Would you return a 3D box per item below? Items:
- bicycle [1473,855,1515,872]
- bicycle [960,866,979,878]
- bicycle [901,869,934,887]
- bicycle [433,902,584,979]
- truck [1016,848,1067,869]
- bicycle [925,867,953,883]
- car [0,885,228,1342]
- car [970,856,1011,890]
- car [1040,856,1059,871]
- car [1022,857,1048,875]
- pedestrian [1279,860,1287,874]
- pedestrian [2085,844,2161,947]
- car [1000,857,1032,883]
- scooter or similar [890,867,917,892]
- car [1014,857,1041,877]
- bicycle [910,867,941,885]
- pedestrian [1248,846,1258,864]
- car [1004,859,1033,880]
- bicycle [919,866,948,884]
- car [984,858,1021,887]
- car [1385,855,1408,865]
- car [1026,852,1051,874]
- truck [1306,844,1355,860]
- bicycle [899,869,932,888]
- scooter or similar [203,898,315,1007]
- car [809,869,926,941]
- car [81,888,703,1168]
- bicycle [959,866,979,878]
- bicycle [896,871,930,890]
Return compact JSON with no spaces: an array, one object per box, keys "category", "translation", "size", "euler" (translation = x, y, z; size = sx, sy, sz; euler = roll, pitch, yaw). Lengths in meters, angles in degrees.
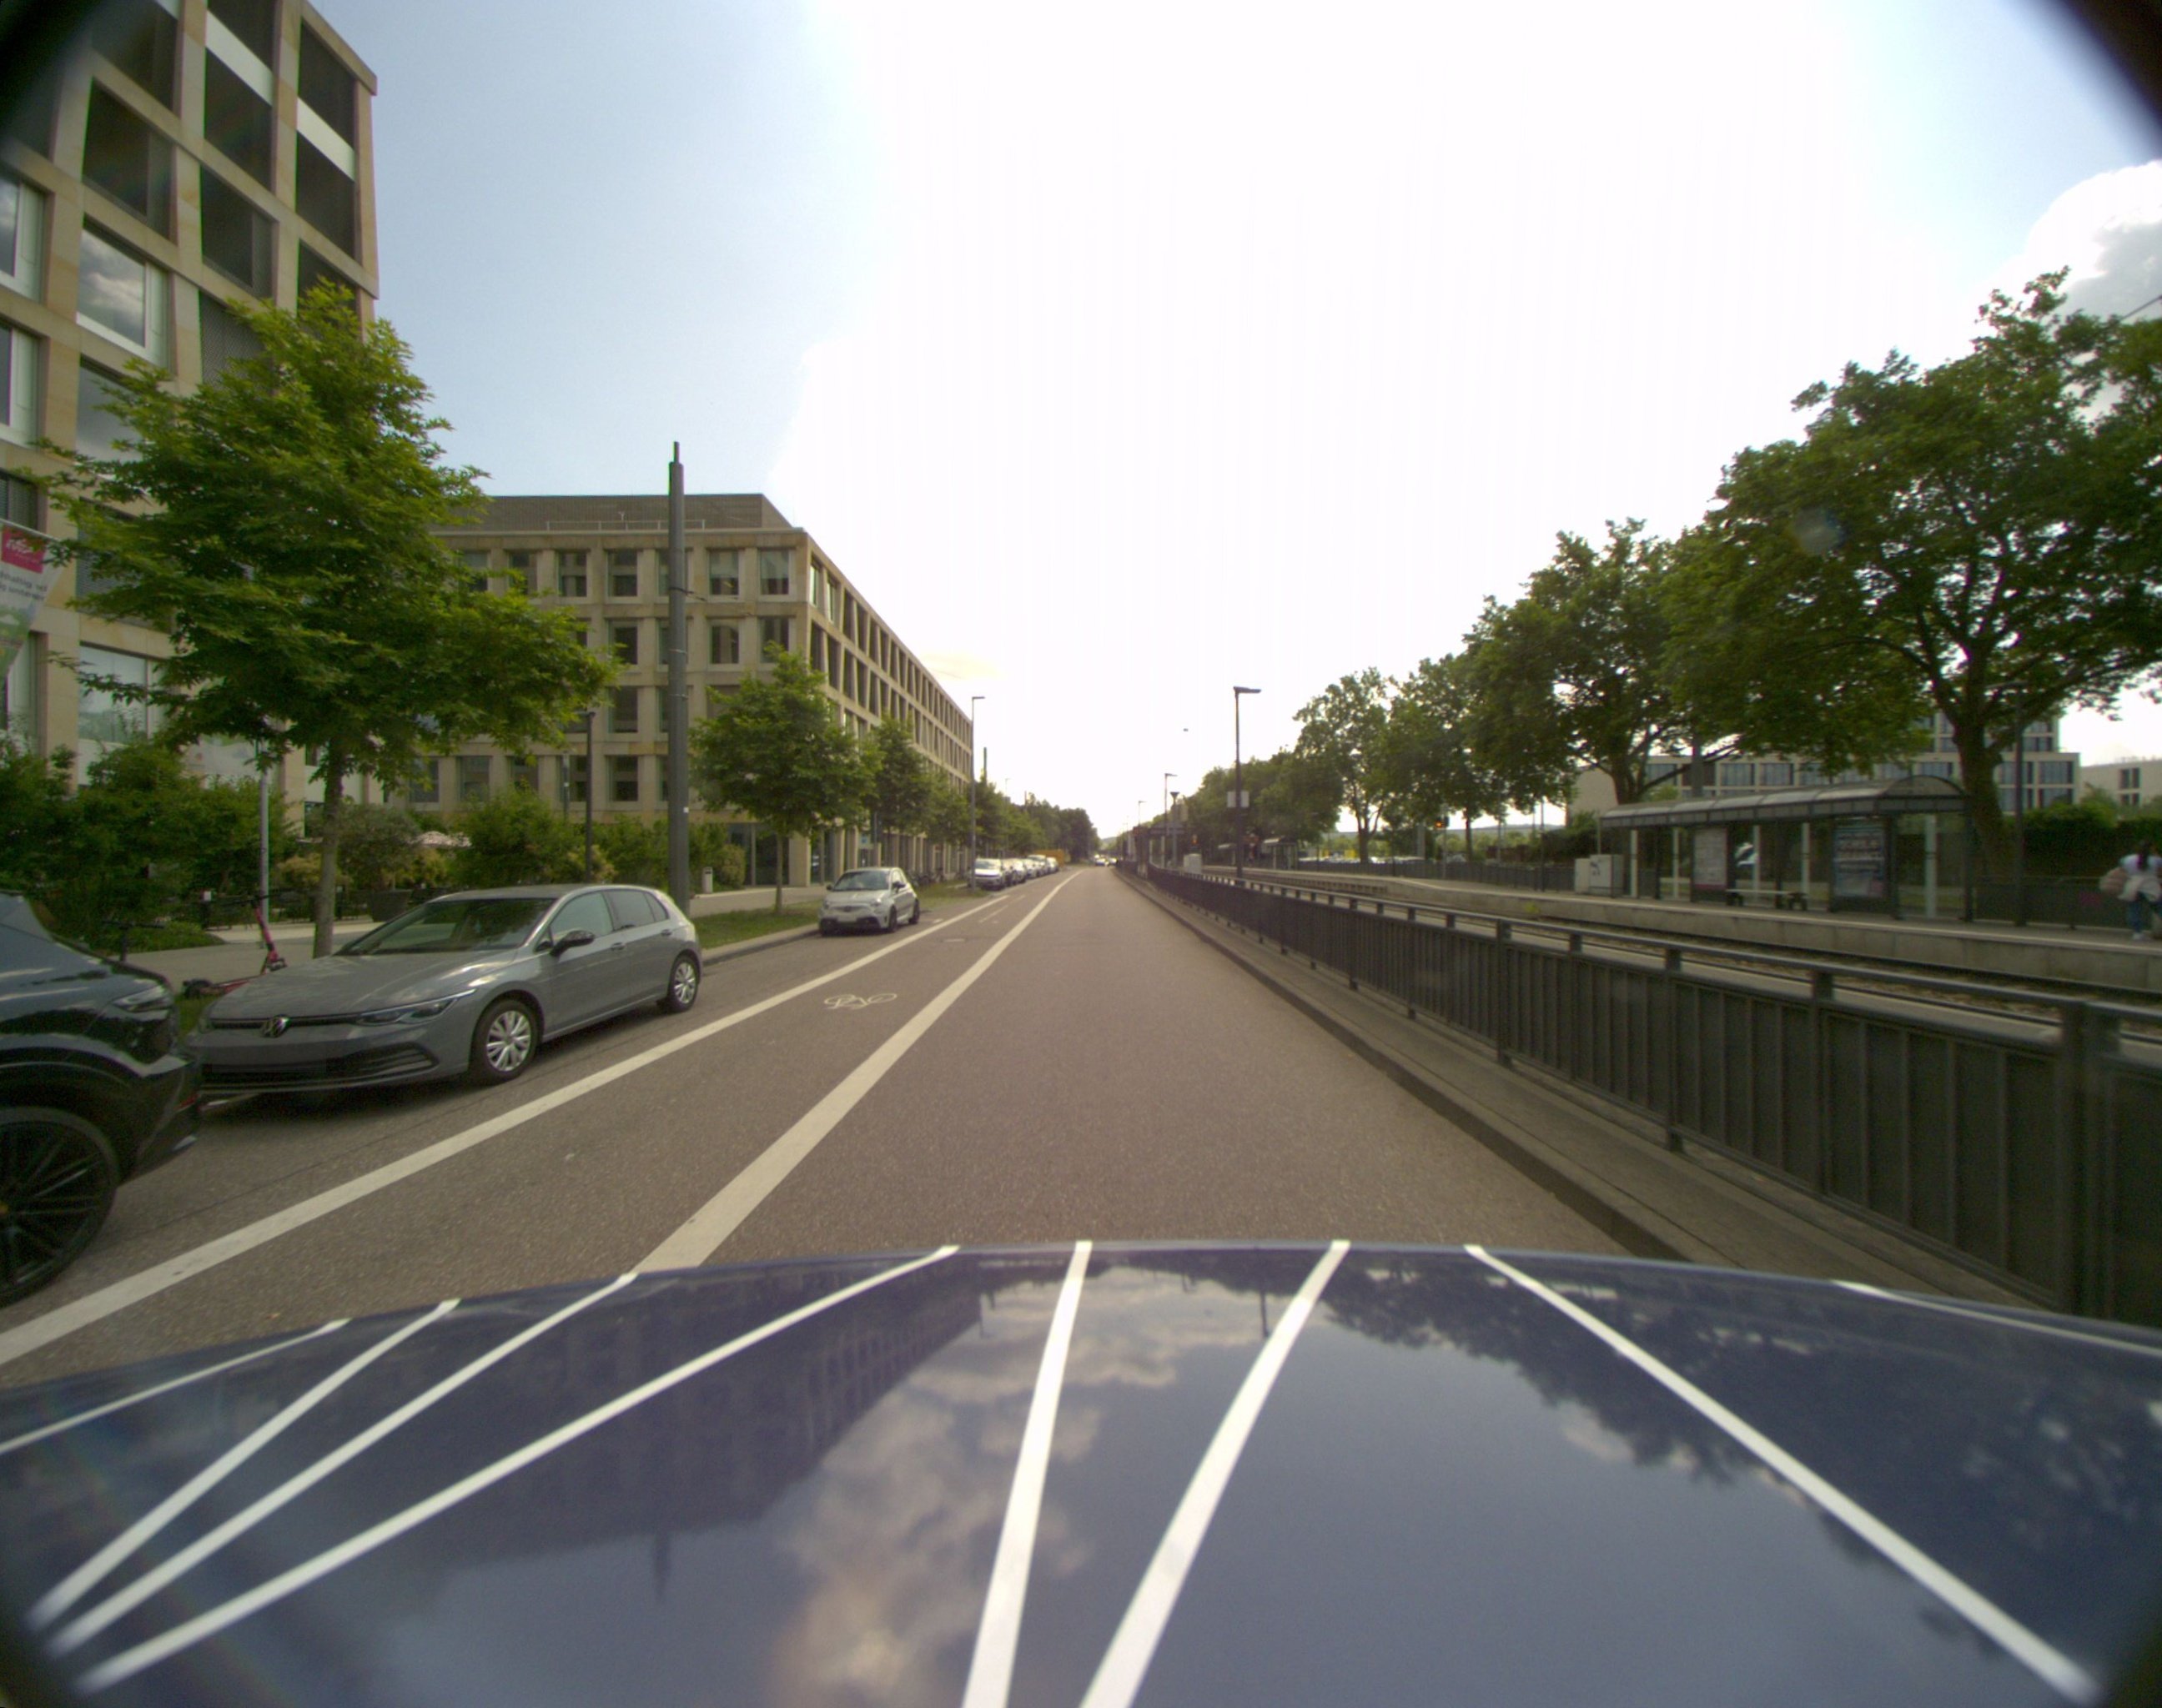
[{"category":"bicycle","translation":[33.928,0.786,62.437],"size":[3.045,1.161,0.634],"euler":[-3,0,6]},{"category":"bicycle","translation":[-8.117,1.313,55.331],"size":[1.386,0.871,0.270],"euler":[0,3,4]},{"category":"bicycle","translation":[-8.244,1.206,38.295],"size":[1.499,0.912,0.505],"euler":[0,3,4]},{"category":"bicycle","translation":[-8.646,1.289,11.508],"size":[1.827,1.069,0.686],"euler":[0,1,5]},{"category":"truck","translation":[-5.294,0.596,103.616],"size":[6.824,2.850,2.454],"euler":[0,1,-1]},{"category":"bicycle","translation":[-8.231,1.205,44.146],"size":[1.499,0.912,0.505],"euler":[0,3,4]},{"category":"car","translation":[-4.872,1.000,1.117],"size":[1.742,1.659,4.840],"euler":[-2,0,-1]},{"category":"car","translation":[-4.671,0.938,39.604],"size":[1.690,1.624,3.990],"euler":[2,0,-1]},{"category":"car","translation":[-3.386,1.011,82.342],"size":[1.725,1.610,3.860],"euler":[0,0,1]},{"category":"car","translation":[-4.008,1.061,66.657],"size":[1.886,1.478,4.563],"euler":[1,0,1]},{"category":"pedestrian","translation":[18.041,1.166,67.740],"size":[0.554,1.262,0.768],"euler":[0,0,3]},{"category":"pedestrian","translation":[16.132,0.615,11.536],"size":[0.703,1.504,0.803],"euler":[0,0,-3]},{"category":"car","translation":[-4.314,1.045,50.860],"size":[1.689,1.596,4.152],"euler":[1,0,1]},{"category":"scooter or similar","translation":[-8.408,1.192,35.990],"size":[1.053,1.168,0.719],"euler":[-1,0,5]},{"category":"car","translation":[-4.250,1.044,61.210],"size":[1.797,1.521,4.159],"euler":[1,0,1]},{"category":"bicycle","translation":[-8.204,1.167,40.206],"size":[1.499,0.912,0.505],"euler":[0,3,4]},{"category":"pedestrian","translation":[16.849,0.104,74.509],"size":[0.708,1.834,0.864],"euler":[0,0,-4]},{"category":"car","translation":[-4.616,1.090,56.375],"size":[1.689,1.449,3.951],"euler":[1,0,1]},{"category":"bicycle","translation":[-8.166,1.160,42.130],"size":[1.499,0.912,0.505],"euler":[0,3,4]},{"category":"car","translation":[-4.599,1.060,44.930],"size":[1.689,1.539,3.926],"euler":[1,0,1]},{"category":"car","translation":[46.243,0.846,111.426],"size":[1.802,1.467,4.000],"euler":[0,0,1]},{"category":"car","translation":[-3.998,0.834,72.093],"size":[1.886,1.928,4.843],"euler":[1,0,1]},{"category":"truck","translation":[69.840,-0.605,212.888],"size":[12.817,4.050,2.748],"euler":[1,1,3]},{"category":"bicycle","translation":[-8.183,1.217,37.662],"size":[1.499,0.912,0.505],"euler":[0,3,4]},{"category":"scooter or similar","translation":[-10.093,1.180,9.366],"size":[0.259,1.208,1.015],"euler":[0,0,1]},{"category":"car","translation":[-4.941,1.125,18.064],"size":[1.595,1.451,3.613],"euler":[-2,0,2]},{"category":"car","translation":[-5.090,1.121,6.550],"size":[1.595,1.426,4.107],"euler":[-2,0,-1]},{"category":"bicycle","translation":[-8.142,1.314,55.026],"size":[1.386,0.871,0.270],"euler":[0,3,4]},{"category":"bicycle","translation":[-8.114,1.270,36.622],"size":[1.499,0.912,0.505],"euler":[0,3,4]}]
